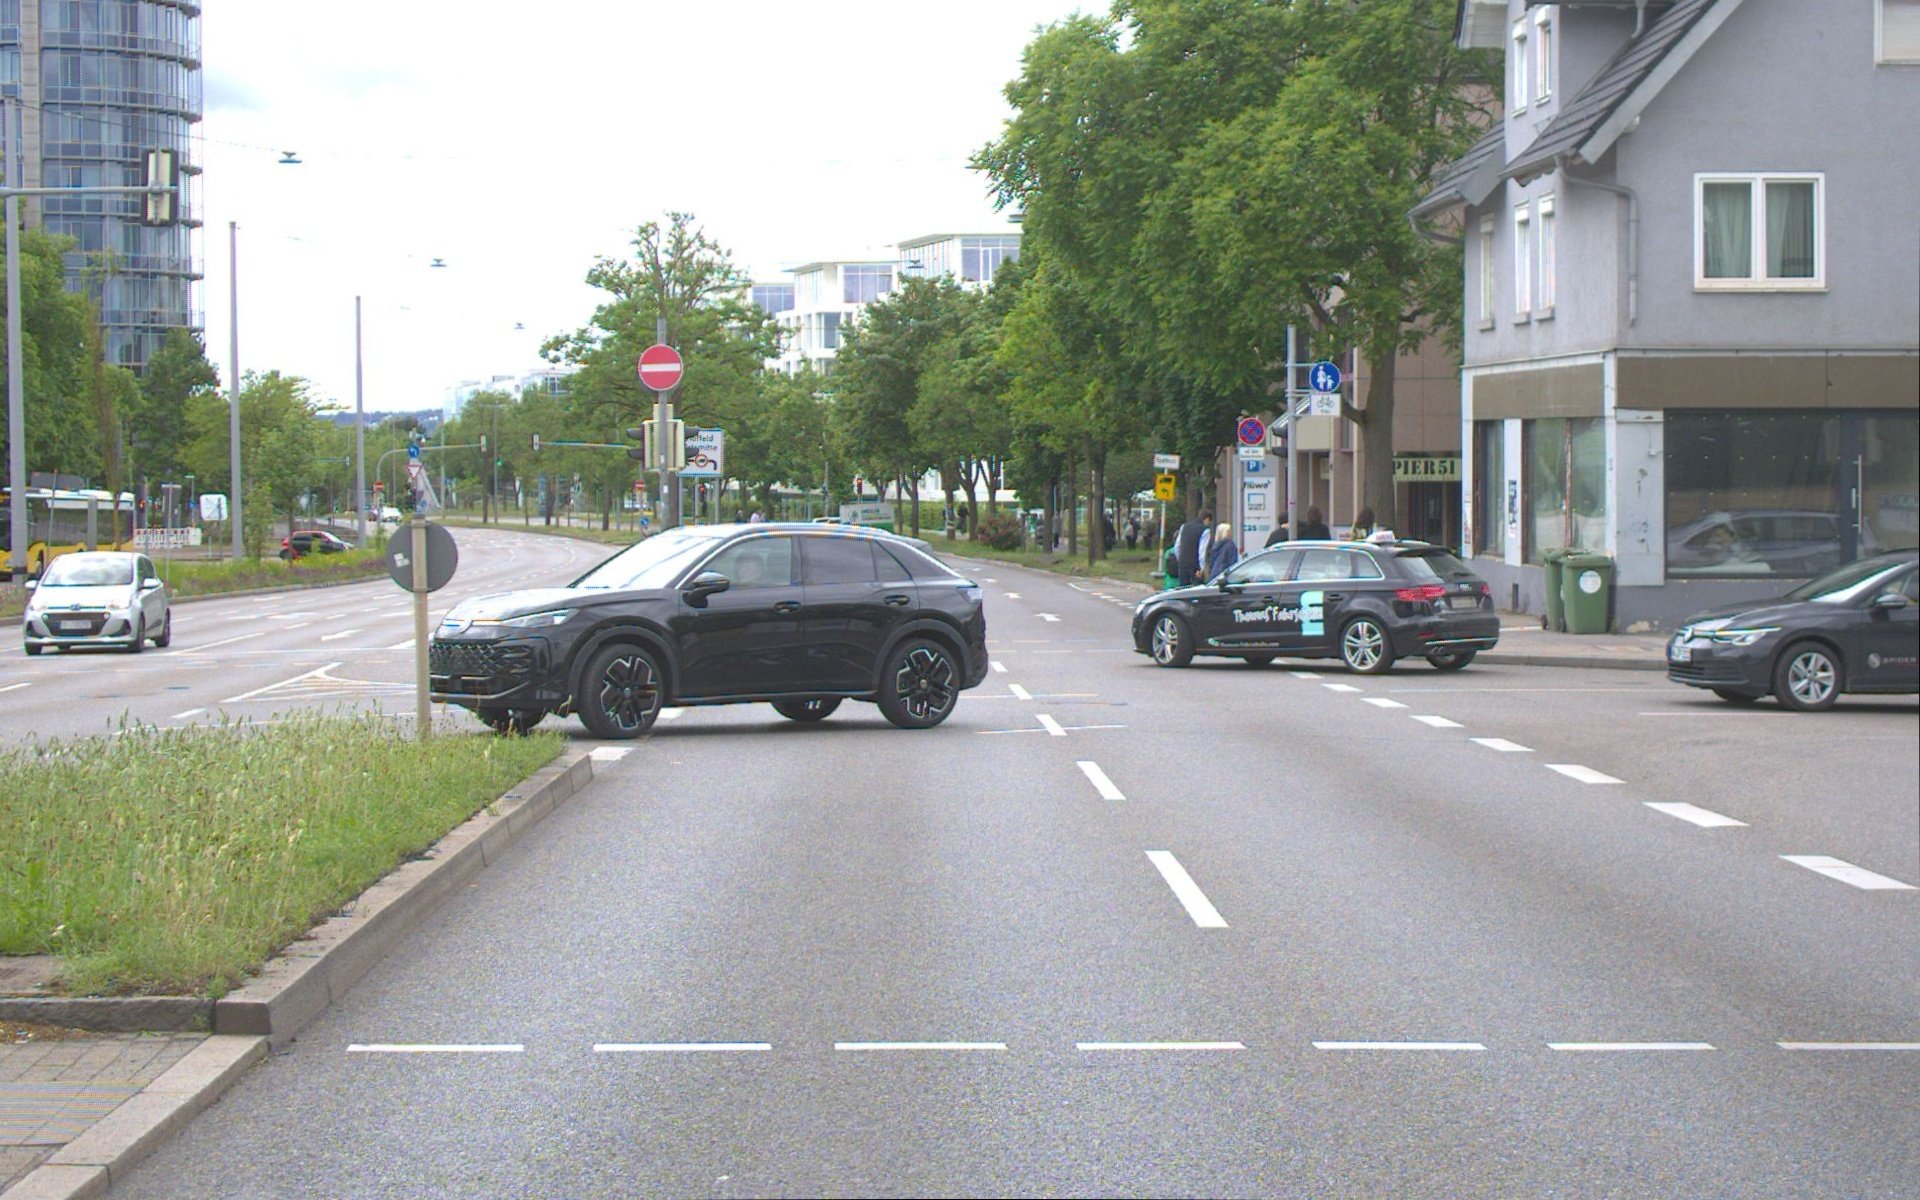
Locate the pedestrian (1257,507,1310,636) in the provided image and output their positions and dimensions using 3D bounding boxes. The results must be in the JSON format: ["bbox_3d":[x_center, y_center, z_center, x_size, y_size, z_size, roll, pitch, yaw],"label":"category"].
[{"bbox_3d":[4.466,-0.400,47.468,0.705,1.754,1.052,-1,1,5],"label":"pedestrian"}]

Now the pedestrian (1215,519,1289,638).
[{"bbox_3d":[4.427,-0.330,52.049,0.868,1.773,0.707,-1,1,-44],"label":"pedestrian"}]

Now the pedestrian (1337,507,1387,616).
[{"bbox_3d":[6.167,-0.598,52.762,0.705,1.656,0.870,0,1,9],"label":"pedestrian"}]

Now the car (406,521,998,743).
[{"bbox_3d":[-1.900,0.178,25.806,4.059,1.516,1.841,-1,2,-36],"label":"car"}]

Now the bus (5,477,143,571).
[{"bbox_3d":[-31.744,-2.714,123.469,3.144,3.214,7.766,-1,1,-2],"label":"bus"}]

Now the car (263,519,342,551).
[{"bbox_3d":[-31.540,-3.122,165.010,3.549,1.487,1.708,-1,1,-5],"label":"car"}]

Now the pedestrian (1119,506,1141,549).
[{"bbox_3d":[6.170,-2.617,124.605,0.650,1.564,0.671,-1,1,-8],"label":"pedestrian"}]

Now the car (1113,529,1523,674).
[{"bbox_3d":[3.884,-0.010,37.589,4.095,1.489,1.891,0,1,40],"label":"car"}]

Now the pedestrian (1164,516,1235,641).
[{"bbox_3d":[3.424,-0.312,49.214,0.867,1.773,0.708,-1,1,-9],"label":"pedestrian"}]

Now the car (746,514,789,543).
[{"bbox_3d":[-9.703,-3.602,173.153,1.967,1.415,4.023,-1,1,-5],"label":"car"}]

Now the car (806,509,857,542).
[{"bbox_3d":[-6.518,-3.748,173.861,2.250,1.641,4.934,-1,1,-5],"label":"car"}]

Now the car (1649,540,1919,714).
[{"bbox_3d":[8.573,0.236,30.996,4.273,1.476,1.715,1,2,-7],"label":"car"}]

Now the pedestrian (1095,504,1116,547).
[{"bbox_3d":[5.277,-2.693,124.570,0.650,1.564,0.671,-1,1,-8],"label":"pedestrian"}]

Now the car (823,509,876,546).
[{"bbox_3d":[-5.322,-3.483,165.068,2.251,1.751,4.934,-1,1,-5],"label":"car"}]

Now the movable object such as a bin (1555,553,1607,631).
[{"bbox_3d":[7.954,-0.106,44.051,0.529,0.976,0.736,-1,1,-1],"label":"movable object such as a bin"}]

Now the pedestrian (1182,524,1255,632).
[{"bbox_3d":[3.637,-0.315,48.467,0.867,1.502,0.708,-1,1,-9],"label":"pedestrian"}]

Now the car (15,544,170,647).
[{"bbox_3d":[-12.810,-0.093,50.926,1.684,1.457,3.556,-1,1,-5],"label":"car"}]

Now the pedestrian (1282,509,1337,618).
[{"bbox_3d":[5.381,-0.563,52.912,0.705,1.656,0.870,0,1,14],"label":"pedestrian"}]

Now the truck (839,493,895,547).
[{"bbox_3d":[-4.239,-3.641,156.012,2.251,2.408,4.934,0,1,-5],"label":"truck"}]

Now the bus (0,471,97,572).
[{"bbox_3d":[-31.405,-2.572,114.465,3.144,3.214,10.286,-1,1,-3],"label":"bus"}]

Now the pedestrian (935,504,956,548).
[{"bbox_3d":[-0.781,-3.909,181.376,0.930,2.300,1.011,1,0,-10],"label":"pedestrian"}]

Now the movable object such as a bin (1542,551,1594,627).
[{"bbox_3d":[7.926,-0.146,44.841,0.529,0.976,0.736,-1,1,-1],"label":"movable object such as a bin"}]

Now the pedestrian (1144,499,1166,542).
[{"bbox_3d":[7.049,-2.875,124.517,0.650,1.564,0.671,-1,1,-8],"label":"pedestrian"}]
